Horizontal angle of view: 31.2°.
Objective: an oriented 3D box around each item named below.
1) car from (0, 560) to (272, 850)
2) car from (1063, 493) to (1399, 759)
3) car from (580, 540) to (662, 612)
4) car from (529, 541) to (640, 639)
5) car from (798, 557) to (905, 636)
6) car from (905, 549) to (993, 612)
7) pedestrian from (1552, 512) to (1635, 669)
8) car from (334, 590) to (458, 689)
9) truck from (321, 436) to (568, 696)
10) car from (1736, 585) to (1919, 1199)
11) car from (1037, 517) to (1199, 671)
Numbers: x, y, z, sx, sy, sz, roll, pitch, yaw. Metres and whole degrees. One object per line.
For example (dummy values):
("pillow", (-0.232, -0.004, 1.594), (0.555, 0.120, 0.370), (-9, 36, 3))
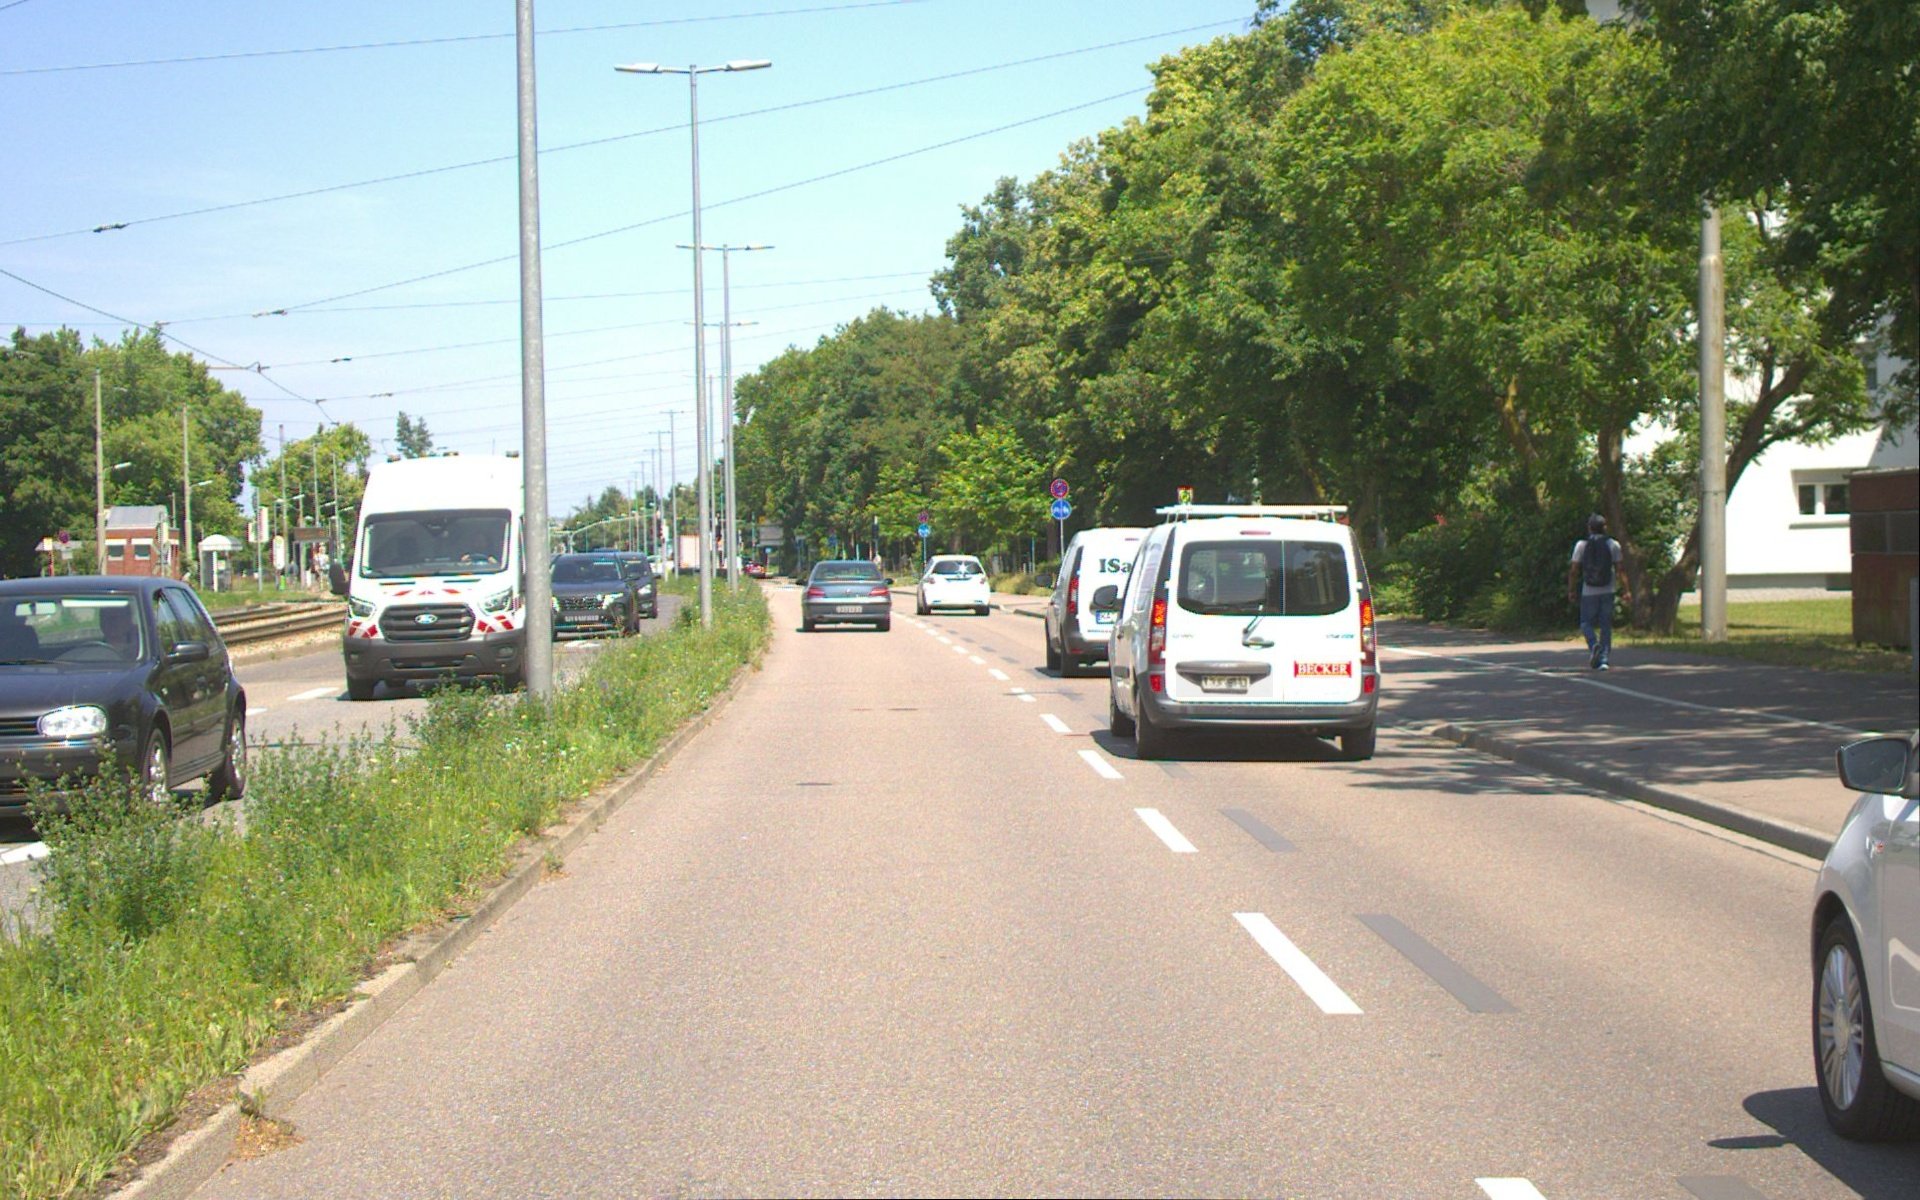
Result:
("car", (-5.207, 0.541, 19.868), (1.716, 1.454, 3.914), (-2, 1, -1))
("car", (1.997, 0.158, 26.622), (1.824, 1.875, 4.457), (0, 1, -6))
("car", (-8.653, -0.632, 88.164), (1.829, 1.707, 4.794), (-2, 1, -3))
("car", (-7.231, -0.218, 66.564), (1.829, 1.750, 4.489), (-2, 1, -3))
("car", (-2.170, -0.083, 67.766), (1.801, 1.481, 4.001), (-1, 1, -6))
("car", (-0.308, -0.502, 87.292), (1.803, 1.534, 4.001), (-1, 1, -6))
("pedestrian", (6.697, -0.106, 36.369), (0.668, 1.638, 0.856), (-1, 0, -2))
("car", (-9.970, 0.664, 60.981), (1.829, 1.579, 3.772), (-3, 1, -5))
("truck", (-5.911, -0.424, 40.093), (2.081, 2.739, 5.547), (-2, 1, -1))
("car", (3.004, 0.705, 7.560), (1.659, 1.444, 3.855), (0, 1, -1))
("car", (1.907, -0.106, 42.547), (1.728, 1.807, 4.000), (0, 1, -1))
